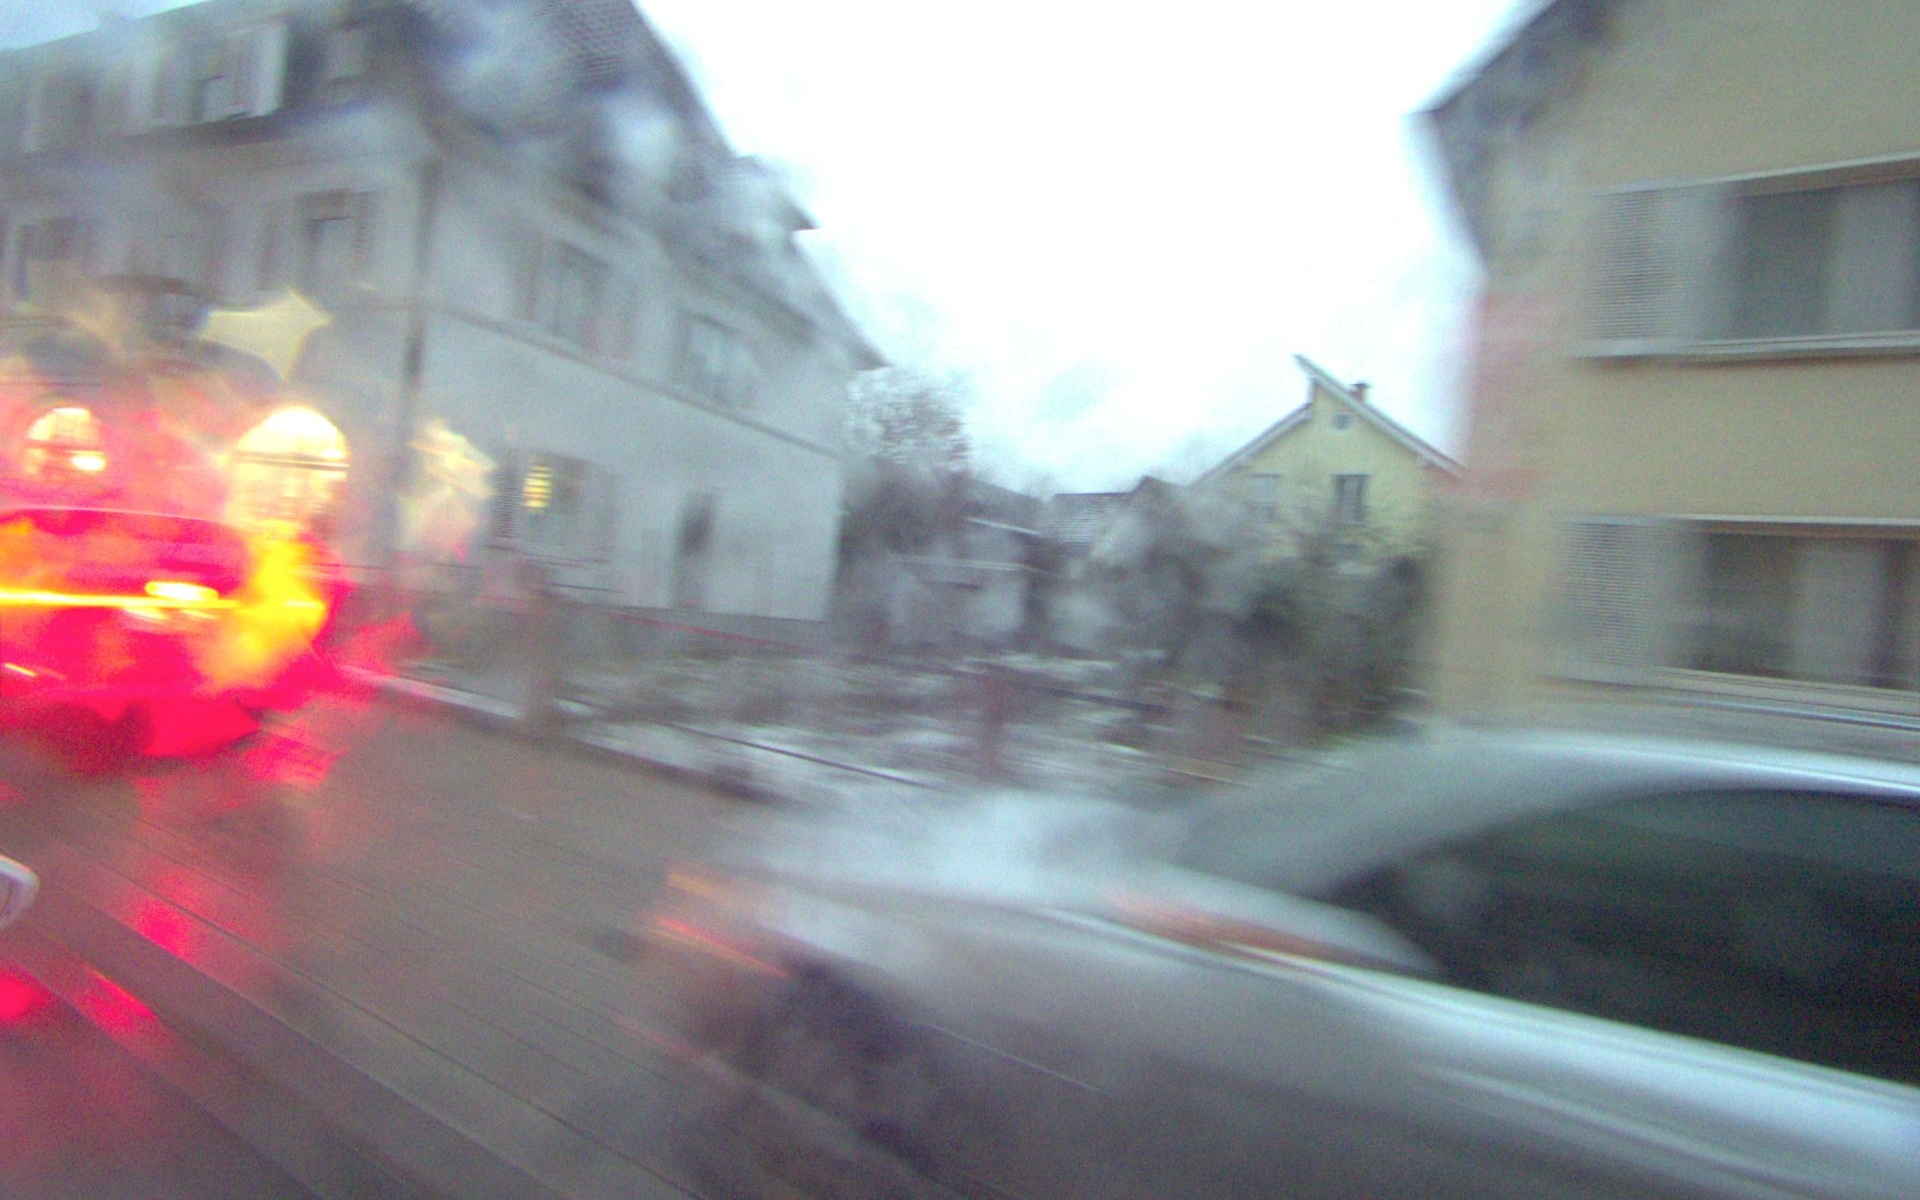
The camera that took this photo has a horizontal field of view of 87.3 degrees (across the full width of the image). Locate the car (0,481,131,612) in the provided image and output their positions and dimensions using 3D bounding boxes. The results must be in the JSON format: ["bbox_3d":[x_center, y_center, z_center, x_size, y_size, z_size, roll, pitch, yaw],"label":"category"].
[{"bbox_3d":[-12.565,-0.786,11.399,1.864,1.492,4.476,7,1,25],"label":"car"}]

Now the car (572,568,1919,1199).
[{"bbox_3d":[1.421,0.914,2.188,4.455,1.479,1.795,7,1,31],"label":"car"}]

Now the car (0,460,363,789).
[{"bbox_3d":[-6.205,-0.082,6.489,4.590,1.566,1.885,7,1,28],"label":"car"}]
